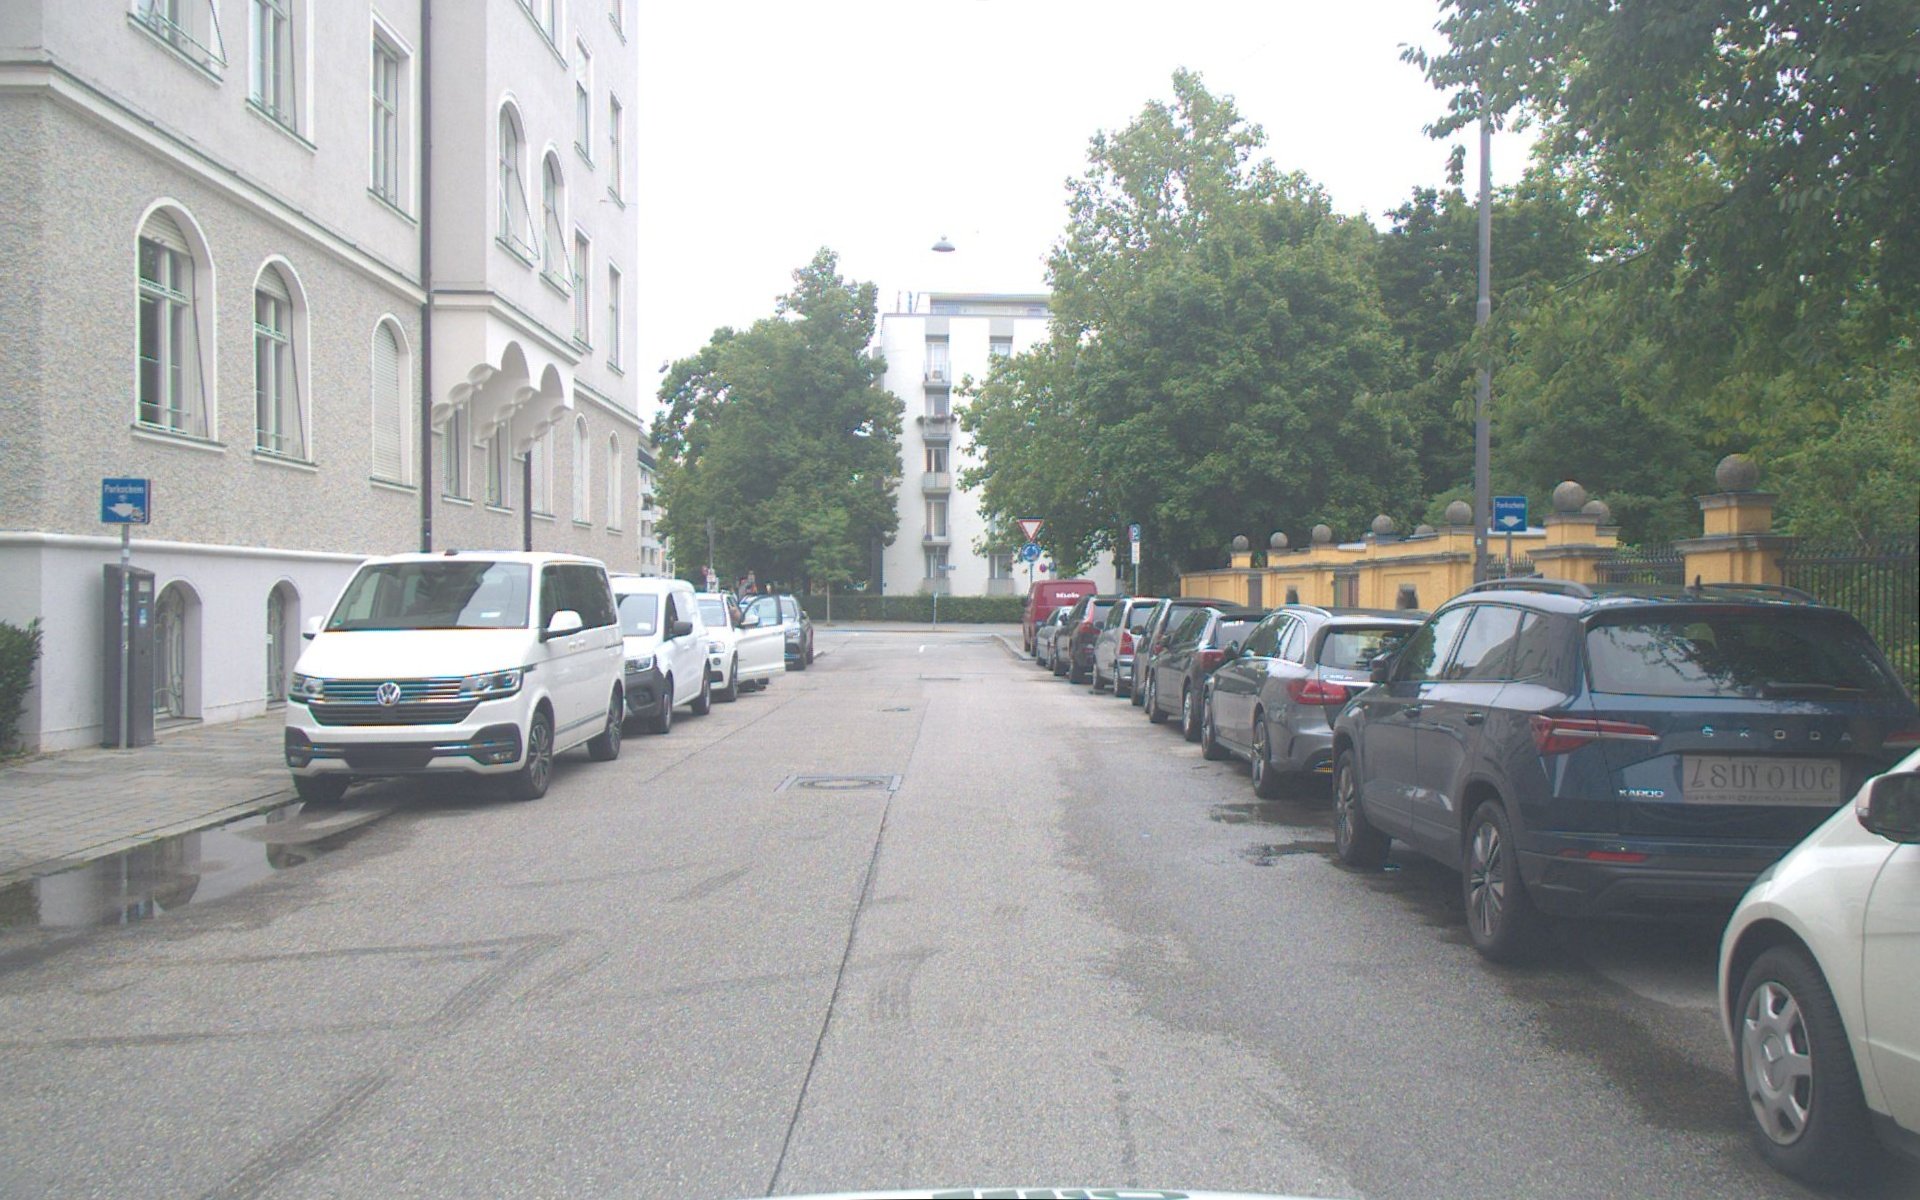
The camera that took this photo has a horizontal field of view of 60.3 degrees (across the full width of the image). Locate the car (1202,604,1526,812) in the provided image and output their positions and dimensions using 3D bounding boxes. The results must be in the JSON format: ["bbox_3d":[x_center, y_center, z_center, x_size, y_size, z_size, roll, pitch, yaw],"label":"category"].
[{"bbox_3d":[3.184,0.768,13.948,1.657,1.439,4.516,0,0,0],"label":"car"}]

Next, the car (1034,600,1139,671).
[{"bbox_3d":[2.883,0.779,38.622,1.847,1.474,4.366,2,0,-3],"label":"car"}]

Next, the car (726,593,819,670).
[{"bbox_3d":[-4.266,0.672,38.168,1.711,1.630,4.495,-1,0,-2],"label":"car"}]

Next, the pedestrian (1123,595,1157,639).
[{"bbox_3d":[5.585,0.527,51.447,0.988,1.361,0.877,0,0,2],"label":"pedestrian"}]

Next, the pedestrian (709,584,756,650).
[{"bbox_3d":[-6.316,0.466,45.885,1.039,1.802,0.866,0,0,-33],"label":"pedestrian"}]

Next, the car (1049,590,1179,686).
[{"bbox_3d":[2.938,0.692,32.525,1.847,1.682,4.821,2,0,-3],"label":"car"}]

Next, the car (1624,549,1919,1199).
[{"bbox_3d":[3.089,0.677,3.426,1.678,1.598,4.319,0,0,0],"label":"car"}]

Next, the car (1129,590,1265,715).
[{"bbox_3d":[3.264,0.686,23.218,1.477,1.593,2.869,2,0,0],"label":"car"}]

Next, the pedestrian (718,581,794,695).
[{"bbox_3d":[-3.293,0.595,26.677,0.951,1.786,0.867,0,0,-31],"label":"pedestrian"}]

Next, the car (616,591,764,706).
[{"bbox_3d":[-4.188,0.706,26.312,1.711,1.630,4.495,-1,0,-2],"label":"car"}]

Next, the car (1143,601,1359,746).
[{"bbox_3d":[3.243,0.760,19.172,1.658,1.439,4.035,2,0,-2],"label":"car"}]

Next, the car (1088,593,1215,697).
[{"bbox_3d":[3.133,0.694,27.647,1.455,1.566,3.690,2,0,-3],"label":"car"}]

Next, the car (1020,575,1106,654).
[{"bbox_3d":[2.707,0.372,44.352,1.836,1.954,4.886,1,0,-2],"label":"car"}]

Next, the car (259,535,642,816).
[{"bbox_3d":[-4.129,0.535,14.340,1.818,1.972,4.956,-1,0,-1],"label":"car"}]

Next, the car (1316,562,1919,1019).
[{"bbox_3d":[3.109,0.663,8.152,1.678,1.598,4.691,0,0,0],"label":"car"}]

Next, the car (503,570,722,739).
[{"bbox_3d":[-4.179,0.597,20.693,1.711,1.819,5.036,-1,0,-1],"label":"car"}]
